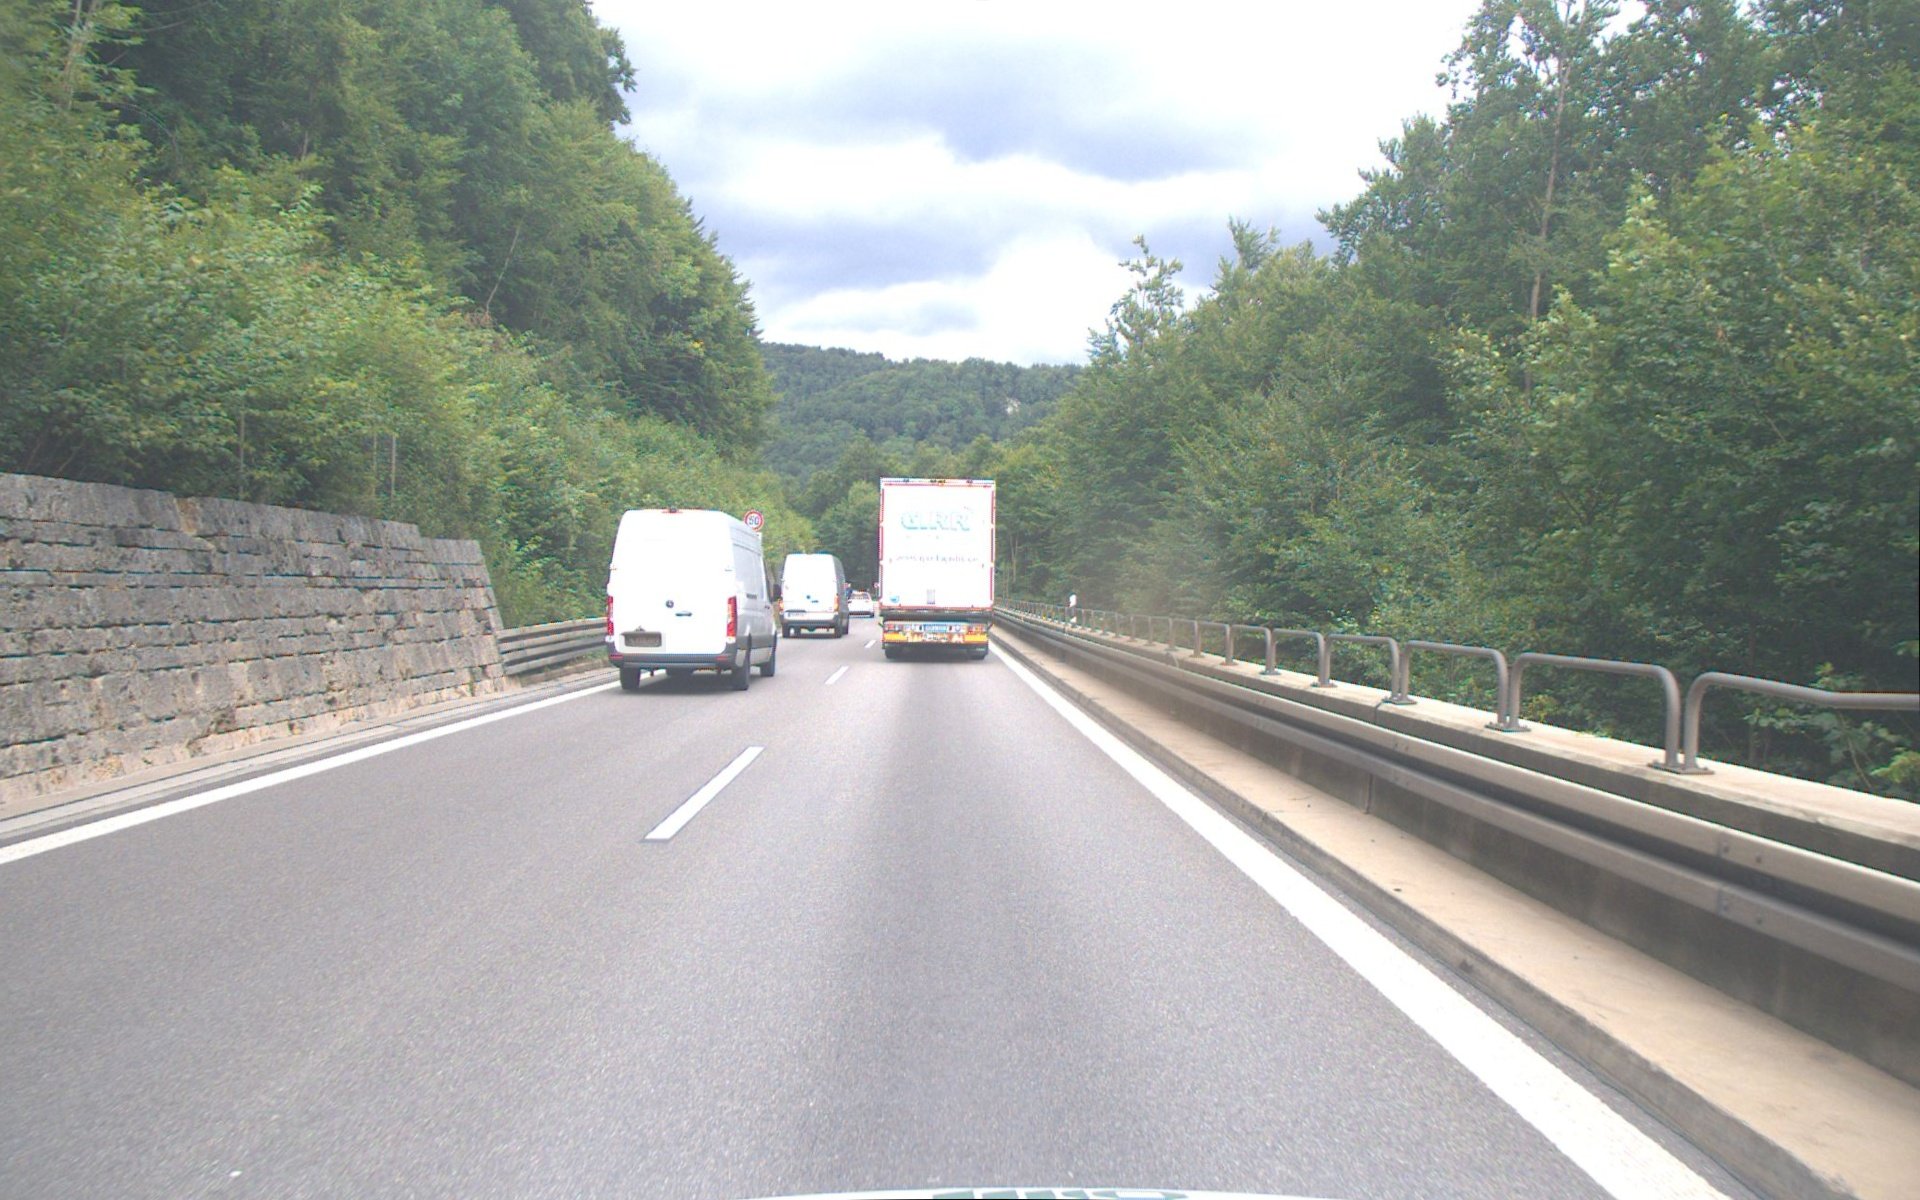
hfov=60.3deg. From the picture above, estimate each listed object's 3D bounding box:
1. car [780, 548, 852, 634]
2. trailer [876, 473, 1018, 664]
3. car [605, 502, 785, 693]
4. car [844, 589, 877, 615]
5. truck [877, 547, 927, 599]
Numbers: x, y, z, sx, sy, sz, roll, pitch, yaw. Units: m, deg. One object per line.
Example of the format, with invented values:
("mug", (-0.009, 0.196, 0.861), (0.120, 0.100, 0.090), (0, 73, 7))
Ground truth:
("car", (-4.756, -0.307, 55.476), (1.900, 2.719, 5.991), (1, 0, 0))
("trailer", (-0.402, -0.854, 41.808), (2.995, 4.055, 12.135), (1, 2, -1))
("car", (-4.167, -0.063, 27.195), (1.948, 2.719, 6.935), (1, 0, -1))
("car", (-5.828, 0.126, 97.003), (1.697, 1.446, 3.999), (1, 0, -1))
("truck", (-4.956, -2.136, 138.669), (2.999, 4.056, 13.678), (1, 0, -7))
